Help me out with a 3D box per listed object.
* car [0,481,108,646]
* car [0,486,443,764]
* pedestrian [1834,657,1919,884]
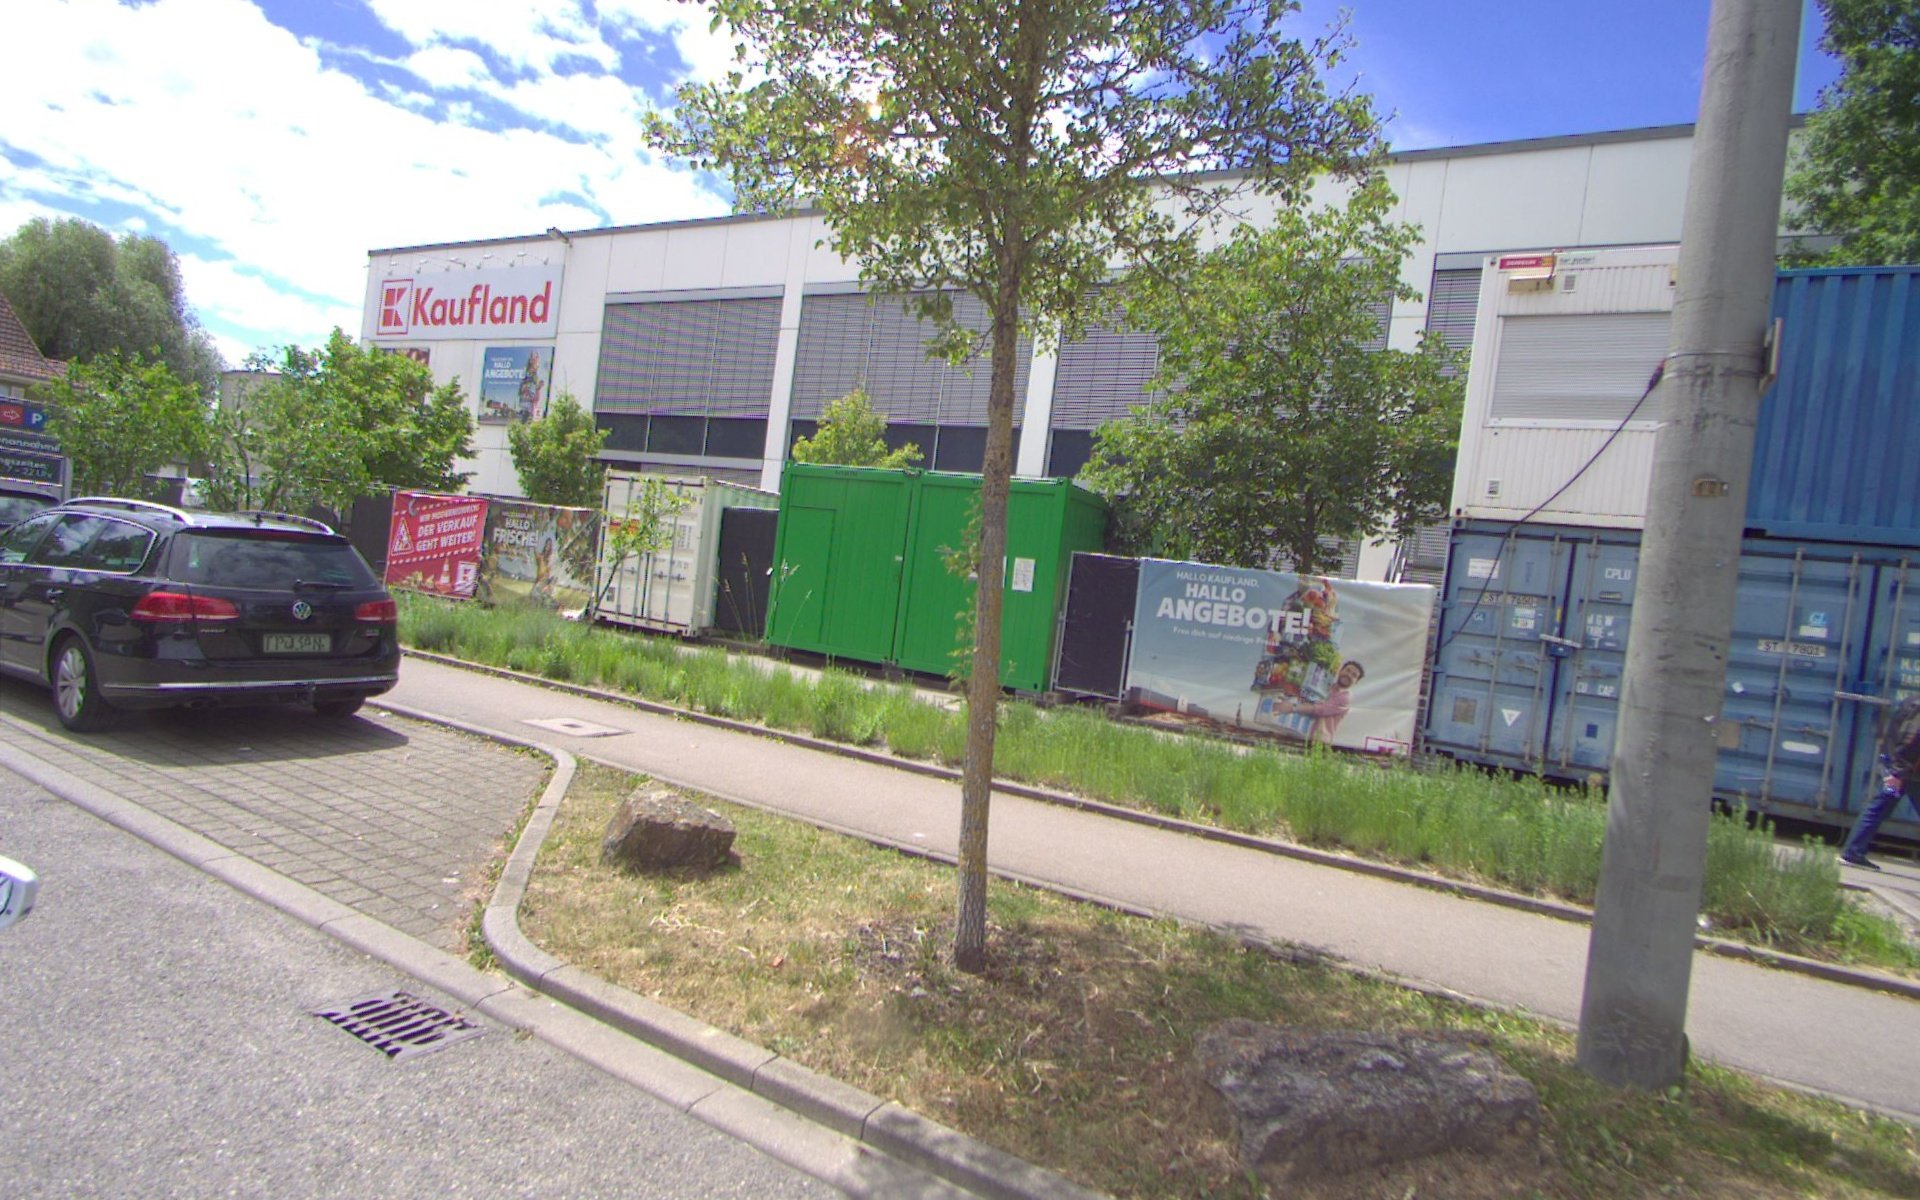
[{"bbox_3d":[-10.509,-0.521,10.315,3.935,1.512,1.569,6,1,33],"label":"car"},{"bbox_3d":[-6.308,-0.018,7.756,4.852,1.497,1.765,6,3,30],"label":"car"},{"bbox_3d":[7.695,1.362,8.017,0.830,1.718,0.652,7,1,29],"label":"pedestrian"}]
